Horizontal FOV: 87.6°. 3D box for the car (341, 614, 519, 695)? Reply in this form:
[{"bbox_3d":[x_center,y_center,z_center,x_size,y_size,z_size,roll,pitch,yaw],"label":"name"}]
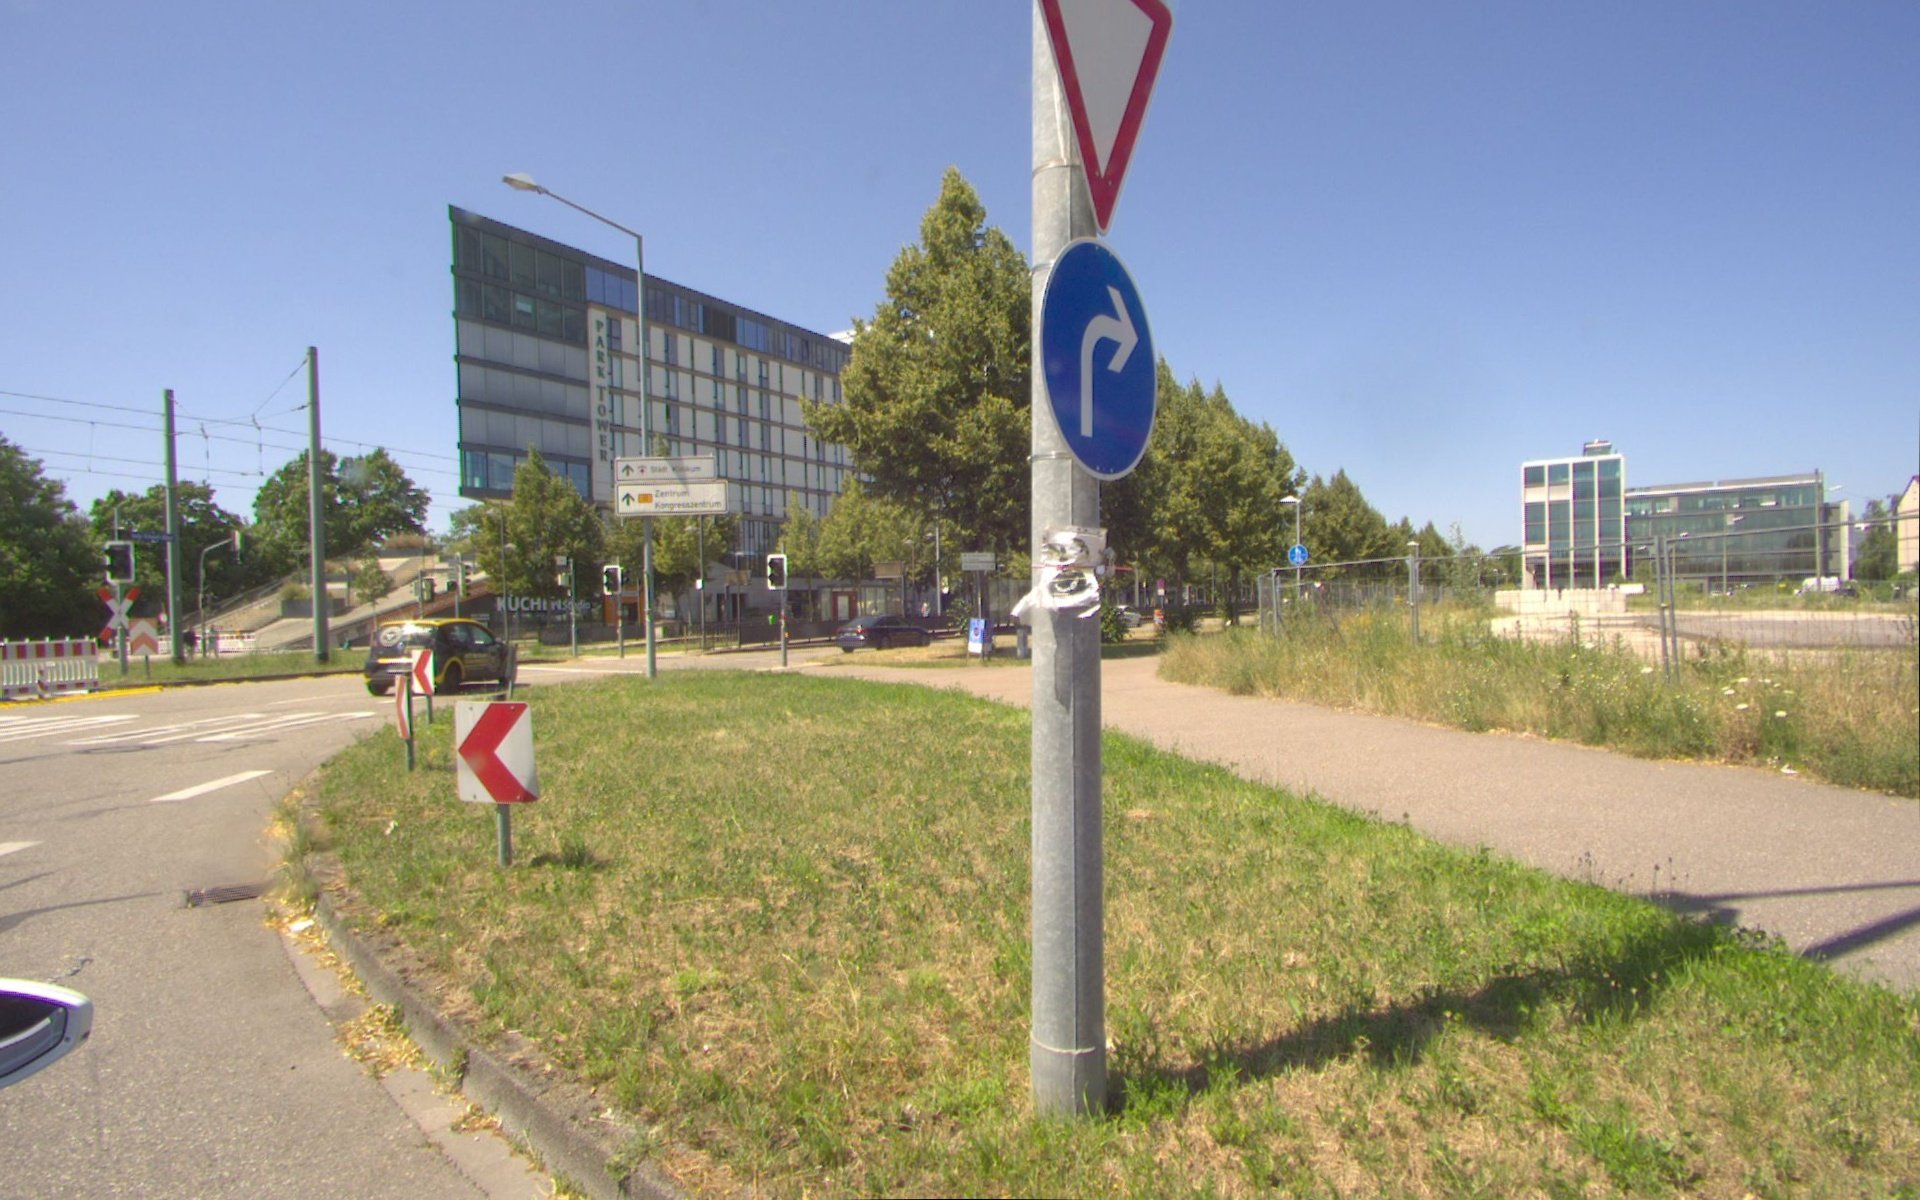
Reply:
[{"bbox_3d":[-10.637,1.055,20.426,1.592,1.470,3.987,-1,-1,-1],"label":"car"}]

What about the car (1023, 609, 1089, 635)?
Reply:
[{"bbox_3d":[5.650,1.290,58.301,1.971,1.467,4.735,-1,-2,32],"label":"car"}]

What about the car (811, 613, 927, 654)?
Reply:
[{"bbox_3d":[-3.382,1.240,38.169,1.973,1.467,4.624,-1,-2,33],"label":"car"}]

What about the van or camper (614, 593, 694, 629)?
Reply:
[{"bbox_3d":[-25.600,0.918,84.143,2.347,2.859,6.758,-1,-1,28],"label":"van or camper"}]

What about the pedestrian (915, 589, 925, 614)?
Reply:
[{"bbox_3d":[-2.849,0.121,71.262,0.404,1.775,0.583,-1,0,28],"label":"pedestrian"}]

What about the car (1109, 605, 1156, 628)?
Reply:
[{"bbox_3d":[11.945,1.157,69.297,1.829,1.467,4.332,-1,-2,30],"label":"car"}]

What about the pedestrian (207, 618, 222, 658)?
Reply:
[{"bbox_3d":[-33.337,1.712,44.772,0.313,1.762,0.447,-1,0,30],"label":"pedestrian"}]

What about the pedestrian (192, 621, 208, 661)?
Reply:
[{"bbox_3d":[-33.627,1.819,44.305,0.287,1.762,0.447,-1,0,30],"label":"pedestrian"}]
